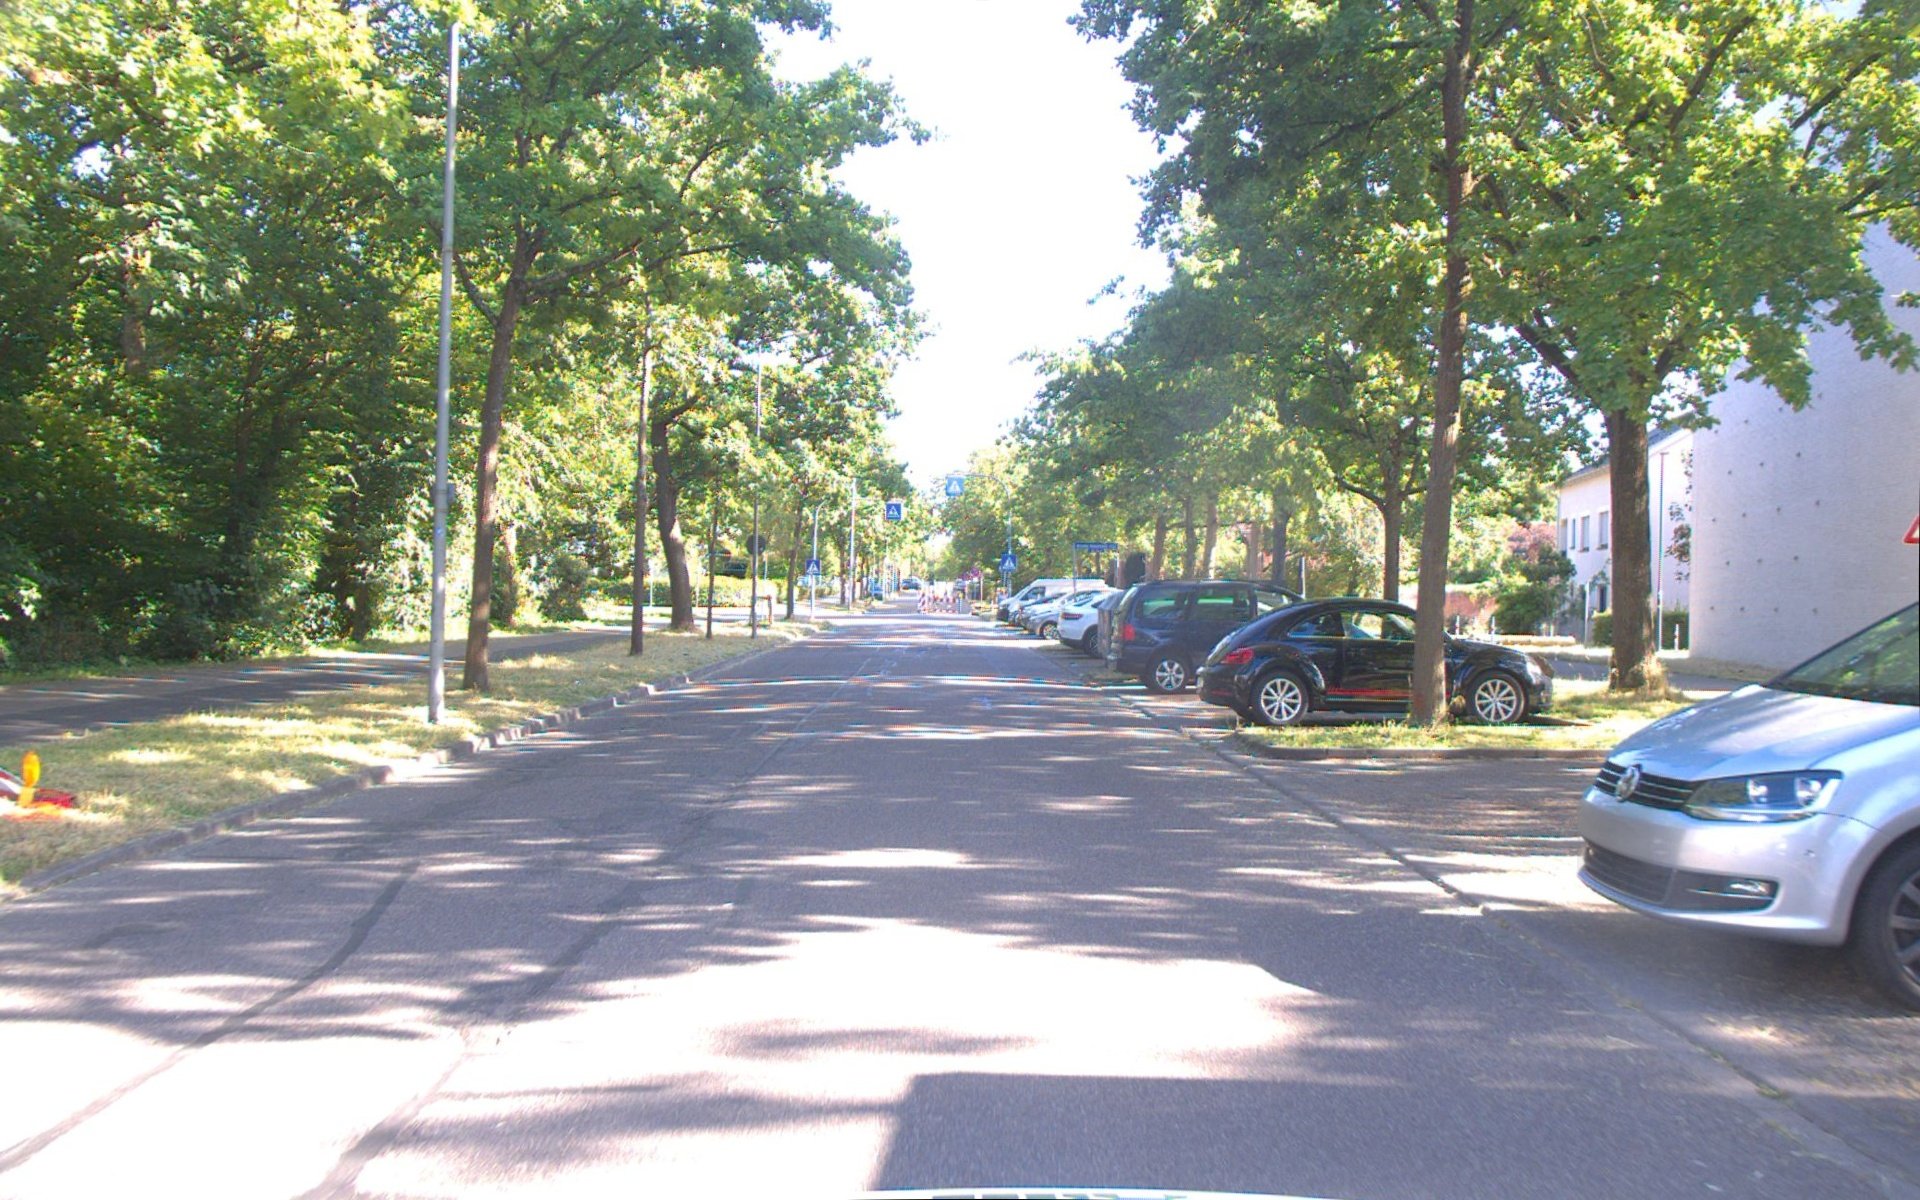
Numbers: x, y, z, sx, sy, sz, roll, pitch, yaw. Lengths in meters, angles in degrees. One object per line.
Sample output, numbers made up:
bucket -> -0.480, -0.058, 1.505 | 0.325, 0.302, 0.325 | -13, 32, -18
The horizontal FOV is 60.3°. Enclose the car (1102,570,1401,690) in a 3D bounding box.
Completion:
car -> 4.583, 0.457, 26.491 | 4.437, 1.832, 1.936 | 0, 0, -1

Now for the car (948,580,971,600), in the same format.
car -> -0.063, -0.945, 150.583 | 1.953, 1.746, 3.999 | 2, 0, -1

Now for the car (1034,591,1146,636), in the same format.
car -> 4.620, 0.471, 59.040 | 3.806, 1.523, 1.777 | -1, 0, -2

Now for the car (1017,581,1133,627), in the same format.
car -> 4.393, 0.152, 63.579 | 4.296, 1.680, 1.850 | -1, 1, -3

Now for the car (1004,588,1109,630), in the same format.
car -> 3.985, 0.365, 68.720 | 4.128, 1.596, 1.933 | 2, 0, -3

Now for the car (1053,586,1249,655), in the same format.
car -> 4.638, 0.477, 40.647 | 4.575, 1.608, 1.917 | 0, 1, 0

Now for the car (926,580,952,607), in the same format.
car -> -1.655, -0.514, 129.667 | 1.953, 1.966, 3.999 | 2, 0, -1

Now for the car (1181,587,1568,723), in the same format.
car -> 4.872, 0.624, 19.925 | 4.158, 1.545, 2.078 | 0, 0, 0

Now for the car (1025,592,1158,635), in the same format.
car -> 4.417, 0.448, 55.975 | 4.355, 1.414, 1.911 | 0, 0, -1

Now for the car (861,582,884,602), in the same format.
car -> -8.262, -0.758, 156.693 | 1.953, 1.746, 3.999 | 2, 0, -1

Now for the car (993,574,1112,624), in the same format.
car -> 4.099, -0.038, 73.884 | 5.083, 2.142, 2.081 | 1, 0, -3

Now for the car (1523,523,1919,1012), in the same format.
car -> 4.982, 0.575, 6.967 | 4.547, 1.752, 1.987 | -1, 0, 0

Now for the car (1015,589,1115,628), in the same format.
car -> 4.158, 0.316, 66.111 | 3.905, 1.458, 1.901 | 1, 0, 1

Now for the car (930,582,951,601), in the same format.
car -> -1.974, -0.859, 166.303 | 1.953, 1.746, 3.999 | 2, 0, -1

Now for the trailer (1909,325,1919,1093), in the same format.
trailer -> 5.746, 0.308, 4.209 | 5.655, 2.358, 1.686 | -1, 0, 1
